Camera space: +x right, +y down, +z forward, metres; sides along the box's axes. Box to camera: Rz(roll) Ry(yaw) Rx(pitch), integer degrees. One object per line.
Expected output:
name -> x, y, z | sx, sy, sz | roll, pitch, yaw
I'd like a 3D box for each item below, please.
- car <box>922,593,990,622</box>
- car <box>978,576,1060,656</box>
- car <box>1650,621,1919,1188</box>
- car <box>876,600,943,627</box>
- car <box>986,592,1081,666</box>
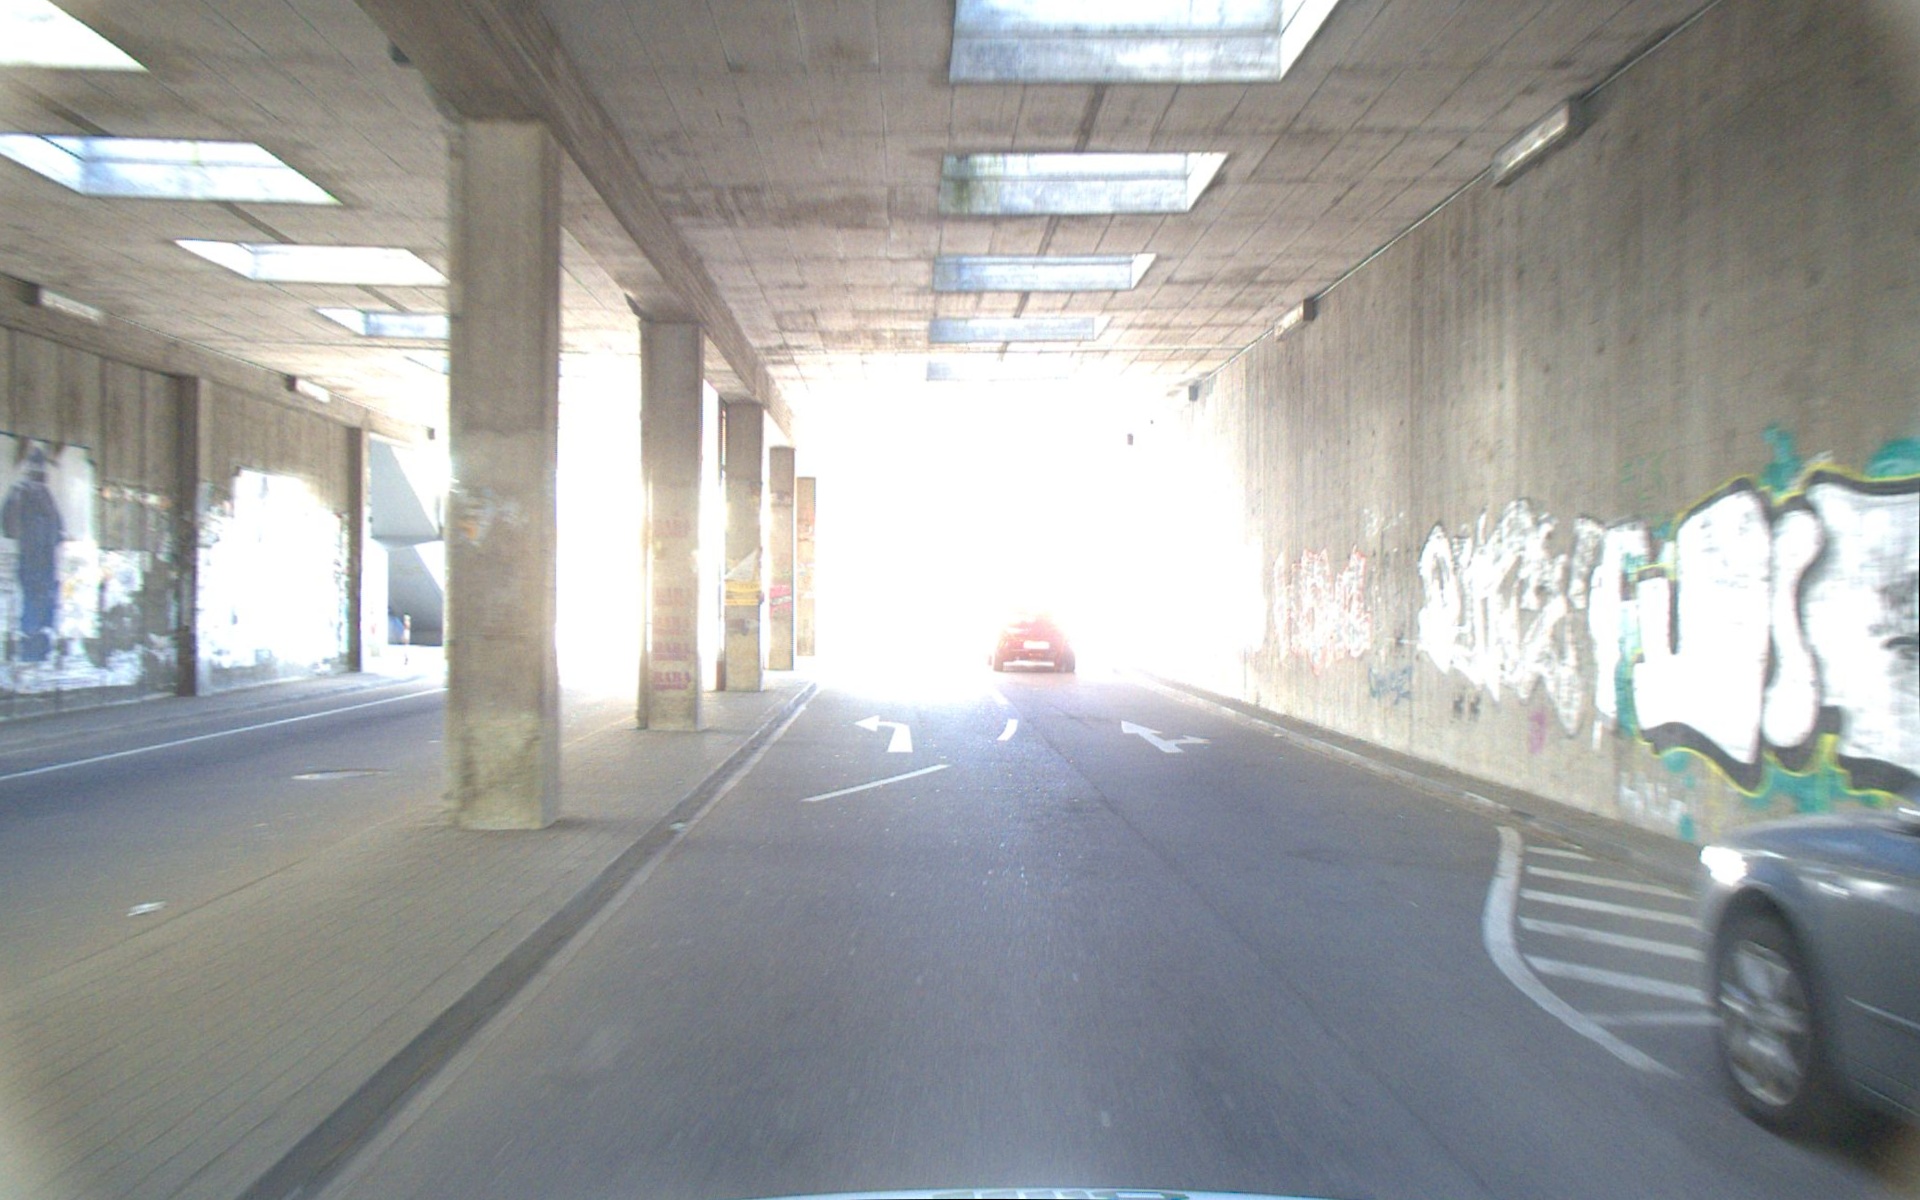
car -> -0.227, 0.463, 102.825 | 4.063, 1.769, 2.001 | -1, 0, 5
car -> 1.454, 0.374, 42.234 | 1.778, 1.915, 4.584 | -1, 0, -2
car -> 3.278, 0.786, 3.470 | 1.667, 1.398, 4.371 | 1, 0, -3
car -> -2.996, 0.817, 98.843 | 3.904, 1.601, 1.640 | 0, 0, 2
car -> 1.542, 0.585, 36.046 | 1.789, 1.527, 4.210 | 0, 0, -1
